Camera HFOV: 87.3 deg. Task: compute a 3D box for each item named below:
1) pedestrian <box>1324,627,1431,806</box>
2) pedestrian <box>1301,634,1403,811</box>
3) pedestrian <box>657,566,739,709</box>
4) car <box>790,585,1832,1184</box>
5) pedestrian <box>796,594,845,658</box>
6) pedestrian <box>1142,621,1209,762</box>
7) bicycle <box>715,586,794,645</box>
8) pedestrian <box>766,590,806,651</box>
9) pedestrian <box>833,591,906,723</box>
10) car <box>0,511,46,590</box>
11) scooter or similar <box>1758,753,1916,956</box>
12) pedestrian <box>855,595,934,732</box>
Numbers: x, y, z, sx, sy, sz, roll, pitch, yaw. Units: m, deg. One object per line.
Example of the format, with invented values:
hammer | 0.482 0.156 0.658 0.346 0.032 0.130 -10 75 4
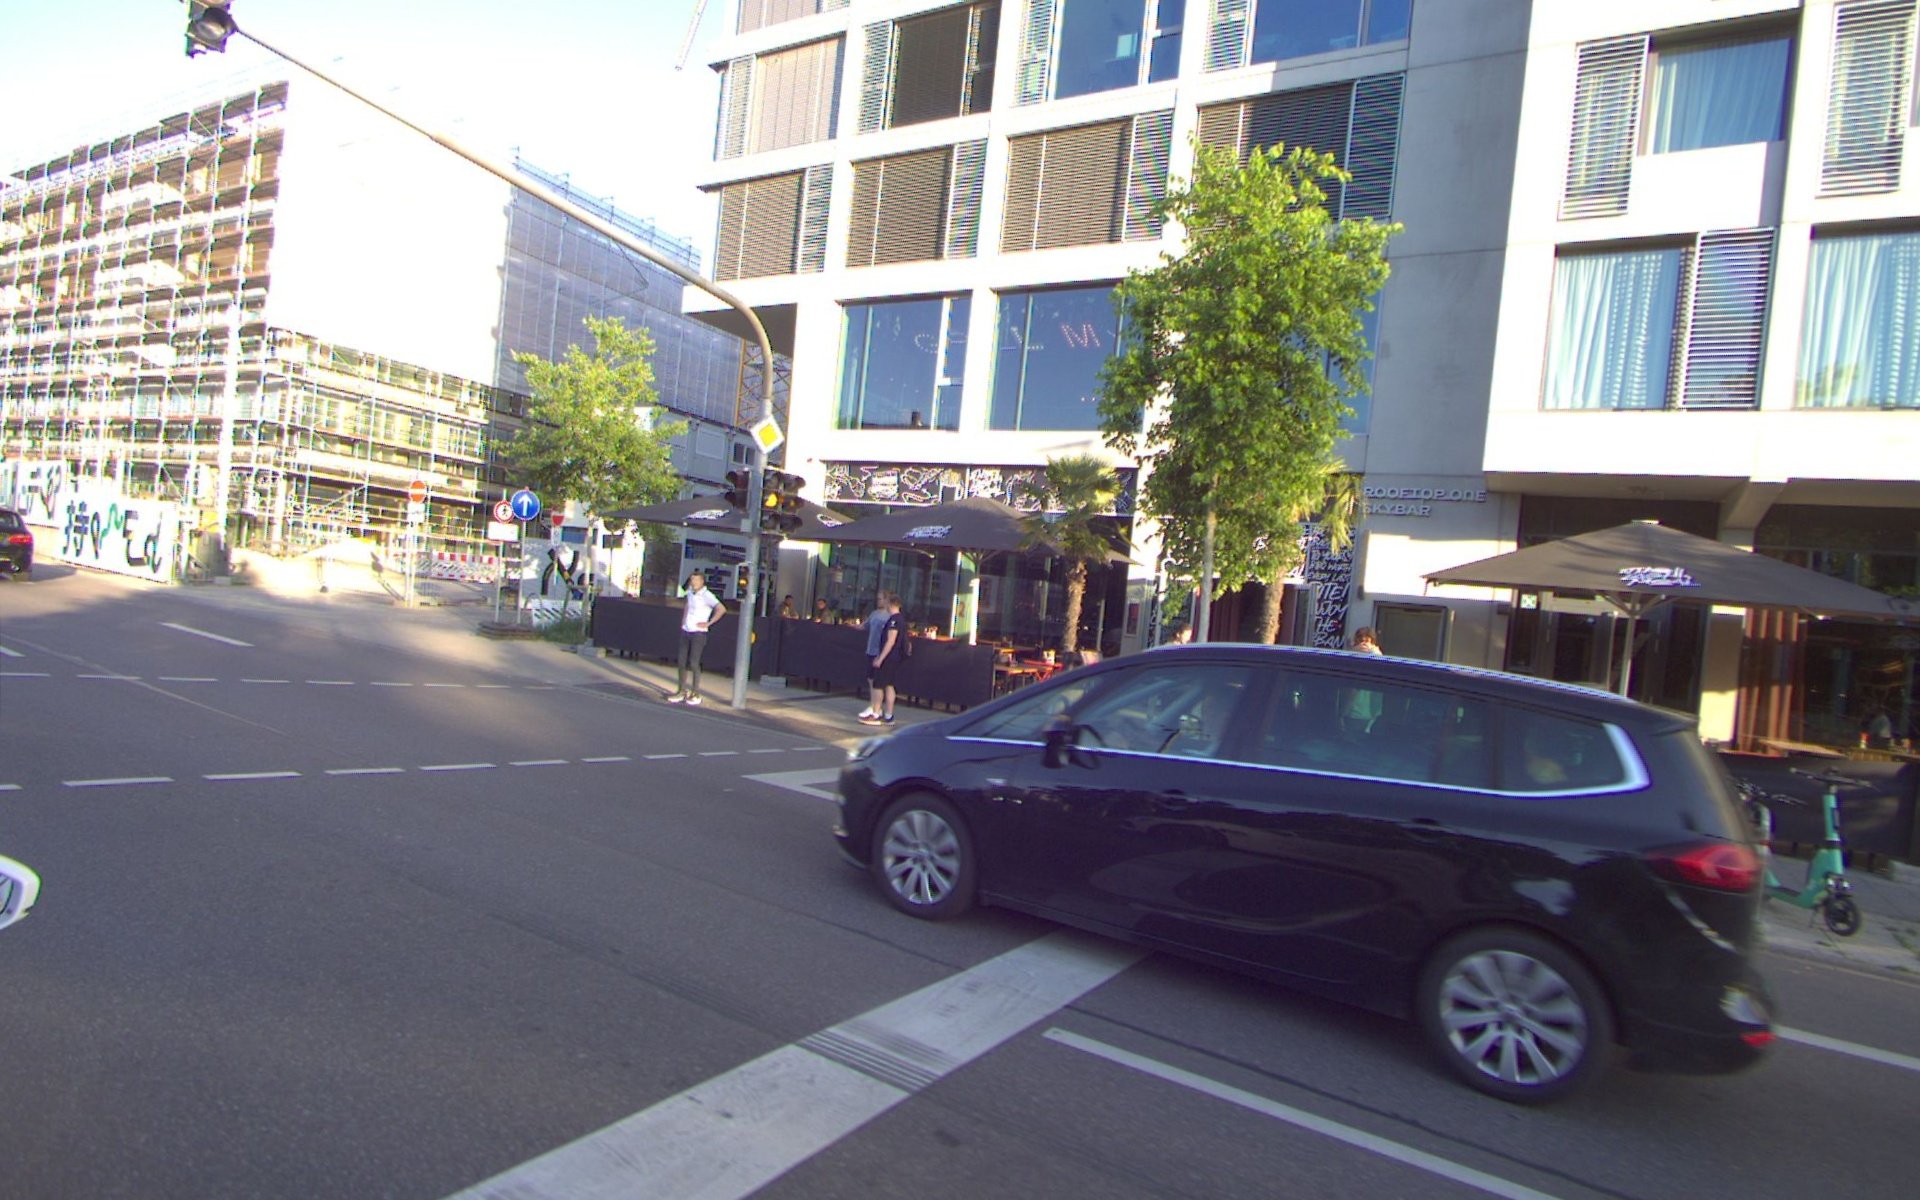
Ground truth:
pedestrian | 4.830 1.301 11.624 0.853 1.913 0.824 5 2 35
pedestrian | 4.313 1.311 11.074 0.815 1.810 0.576 5 2 33
pedestrian | -3.632 0.509 13.997 0.756 1.871 0.678 6 1 5
car | 1.427 1.000 5.216 4.295 1.617 1.826 6 -2 32
pedestrian | -3.138 0.582 22.602 0.704 1.337 0.743 7 4 42
pedestrian | 2.830 1.164 13.154 0.567 1.726 0.855 6 2 21
bicycle | -5.035 0.379 24.636 1.923 1.224 0.543 6 -2 31
pedestrian | -3.994 0.467 23.078 0.610 1.337 0.613 2 4 -42
pedestrian | -1.280 0.789 14.296 0.746 1.758 0.687 5 3 10
car | -21.480 -1.246 21.569 4.718 1.536 1.821 6 -2 37
scooter or similar | 6.662 1.887 7.702 0.471 1.217 1.211 6 2 25
pedestrian | -0.875 0.838 13.495 0.677 1.725 0.654 6 3 29
